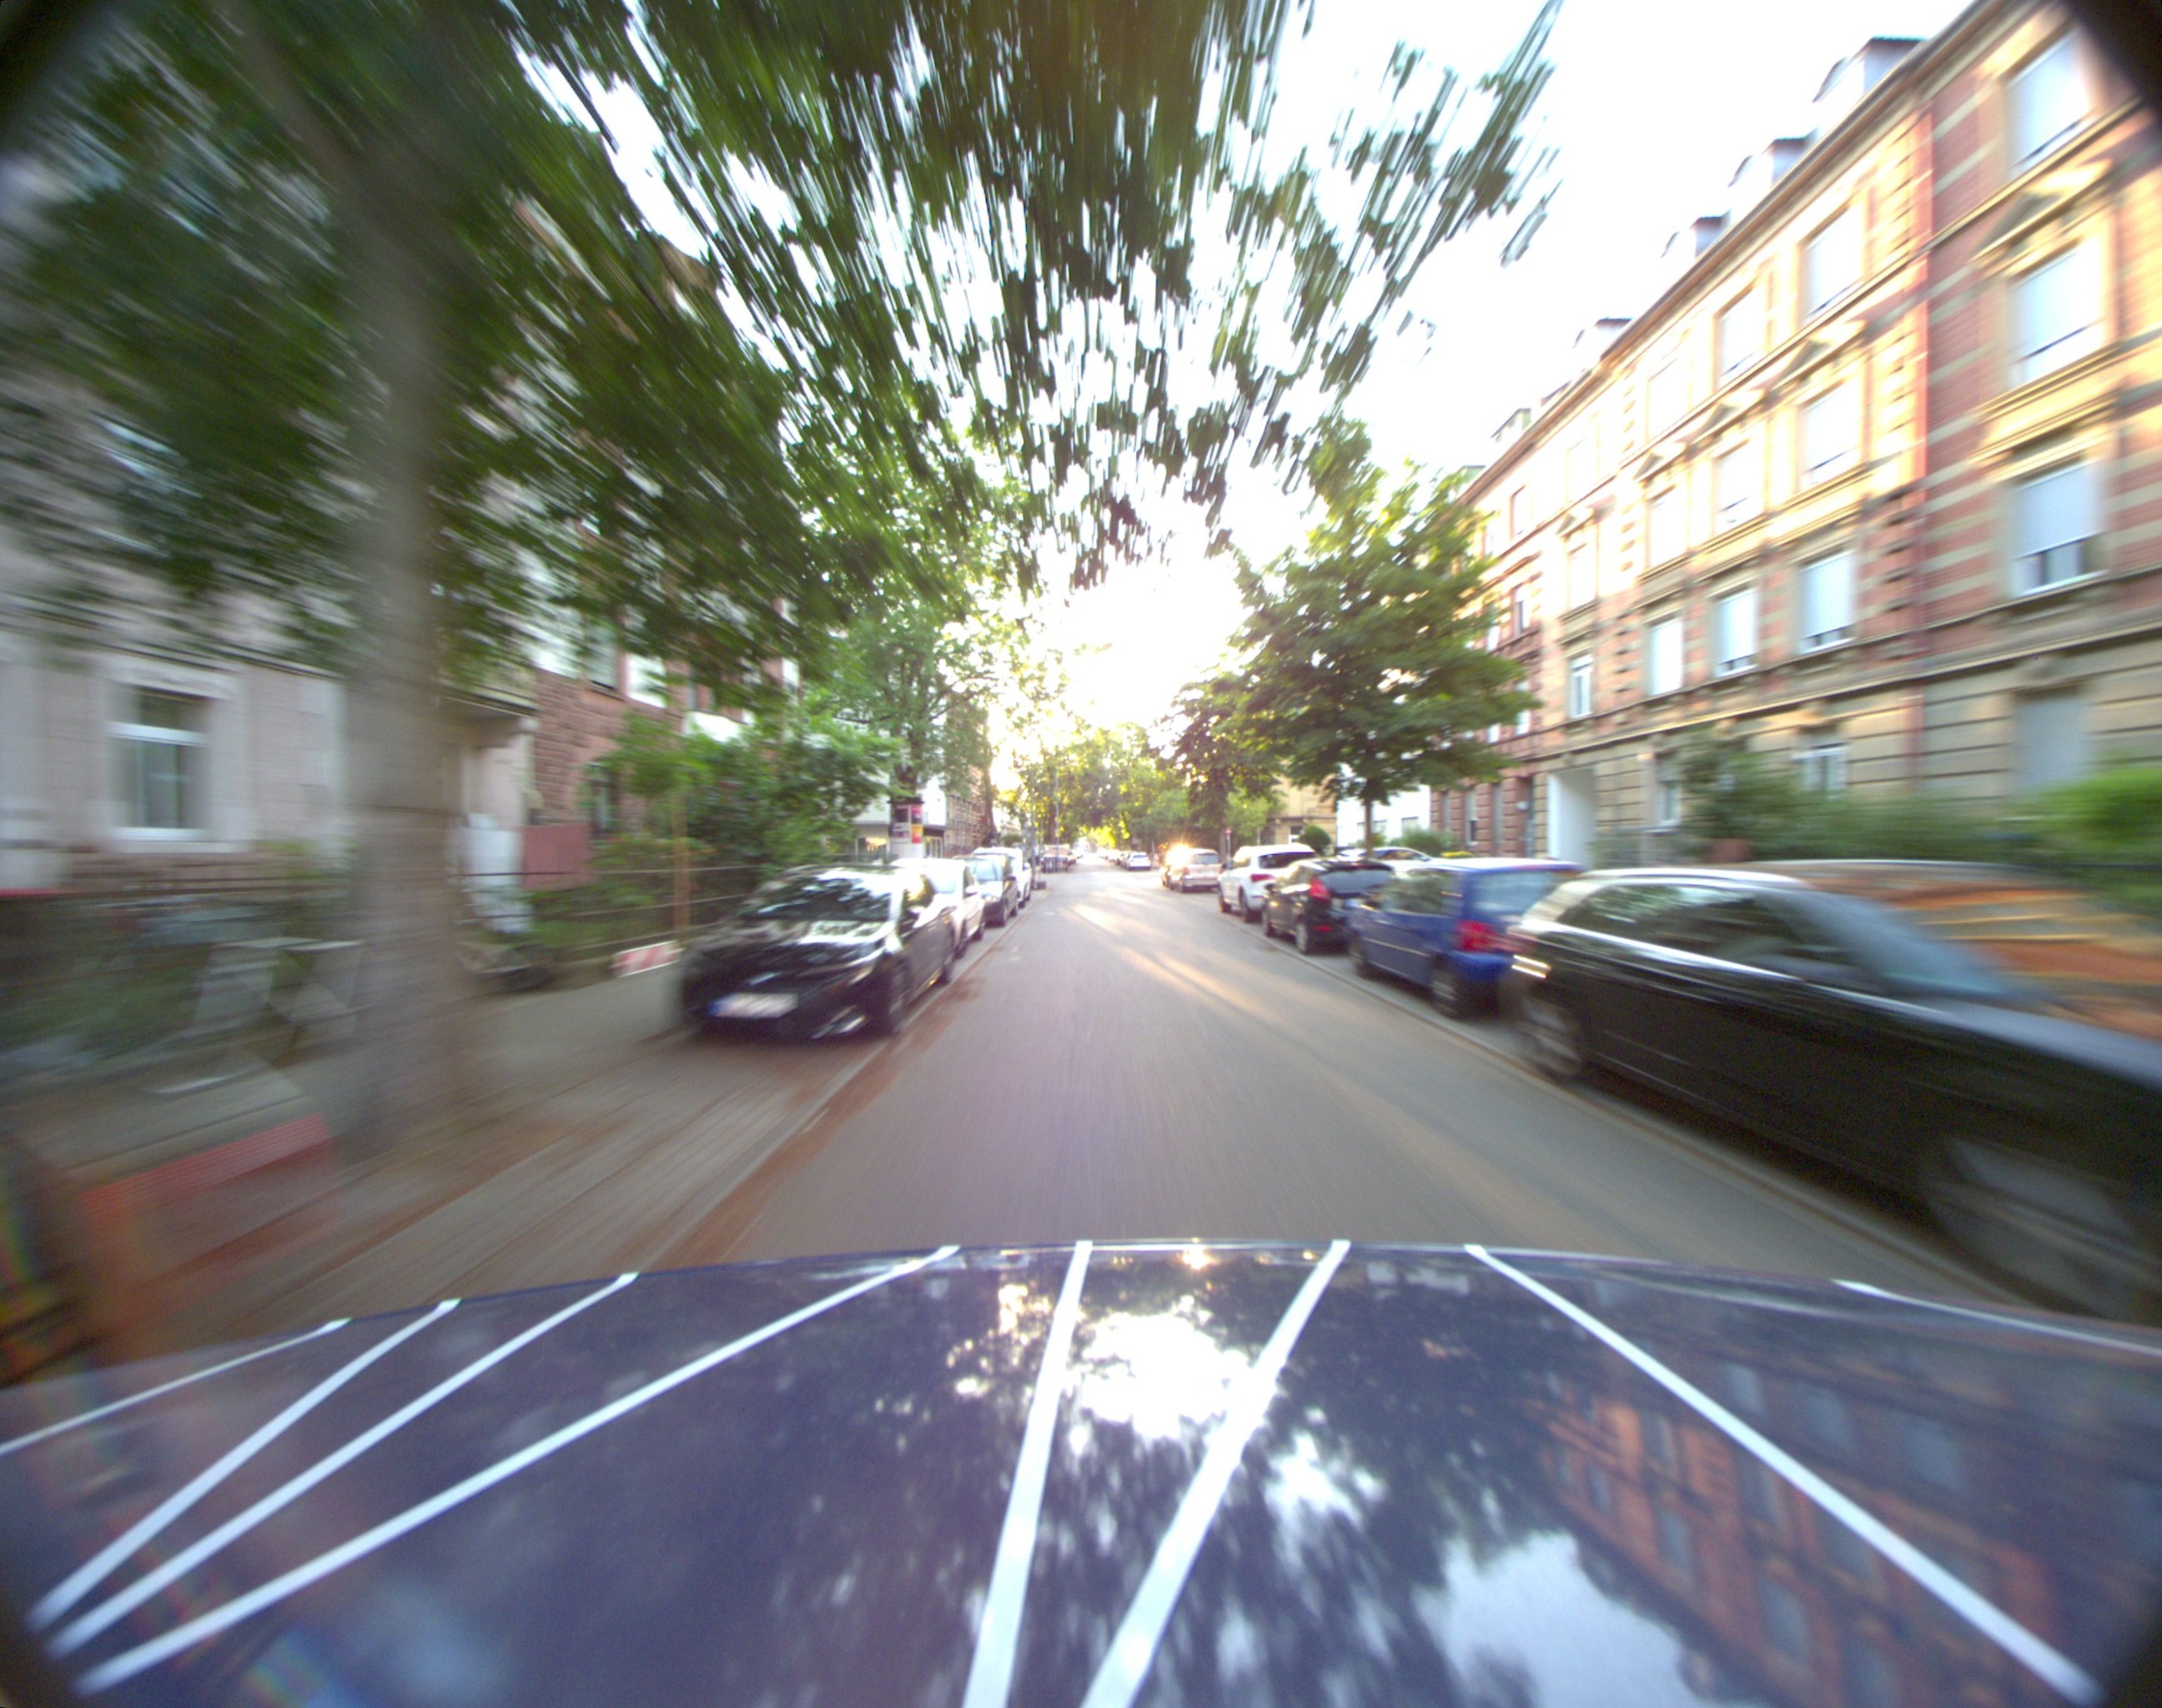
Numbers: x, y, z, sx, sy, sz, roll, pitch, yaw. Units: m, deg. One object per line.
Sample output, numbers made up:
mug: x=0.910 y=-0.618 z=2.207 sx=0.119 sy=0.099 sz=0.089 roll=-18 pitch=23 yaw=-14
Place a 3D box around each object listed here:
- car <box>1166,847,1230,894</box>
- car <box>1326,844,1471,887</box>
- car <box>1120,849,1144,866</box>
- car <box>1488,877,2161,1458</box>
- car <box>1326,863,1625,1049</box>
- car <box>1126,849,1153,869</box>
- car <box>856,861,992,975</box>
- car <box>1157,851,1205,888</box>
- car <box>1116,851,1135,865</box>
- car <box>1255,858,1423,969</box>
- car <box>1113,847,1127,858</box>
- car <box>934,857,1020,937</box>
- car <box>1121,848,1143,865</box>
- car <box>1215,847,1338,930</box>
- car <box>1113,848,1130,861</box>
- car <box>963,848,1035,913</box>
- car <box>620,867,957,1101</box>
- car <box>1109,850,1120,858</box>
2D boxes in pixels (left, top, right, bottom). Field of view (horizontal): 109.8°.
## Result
car: x=4.409 y=0.583 z=29.212 sx=1.677 sy=1.628 sz=3.939 roll=-1 pitch=1 yaw=-2
car: x=11.091 y=0.386 z=26.735 sx=4.412 sy=1.334 sz=1.625 roll=-1 pitch=1 yaw=1
car: x=4.565 y=0.307 z=68.527 sx=1.840 sy=1.484 sz=3.641 roll=-1 pitch=1 yaw=0
car: x=3.824 y=0.924 z=3.447 sx=1.732 sy=1.433 sz=4.023 roll=-1 pitch=1 yaw=-1
car: x=3.918 y=0.897 z=8.162 sx=1.441 sy=1.485 sz=3.297 roll=-1 pitch=1 yaw=-1
car: x=4.837 y=0.387 z=62.885 sx=1.953 sy=1.484 sz=3.737 roll=-1 pitch=1 yaw=0
car: x=-2.452 y=0.927 z=12.700 sx=1.479 sy=1.498 sz=3.928 roll=-1 pitch=1 yaw=-1
car: x=4.356 y=0.641 z=33.570 sx=1.505 sy=1.484 sz=3.987 roll=-1 pitch=1 yaw=-1
car: x=5.045 y=0.408 z=86.553 sx=1.840 sy=1.484 sz=3.641 roll=-1 pitch=1 yaw=0
car: x=4.081 y=0.861 z=12.619 sx=1.682 sy=1.490 sz=3.625 roll=-1 pitch=1 yaw=3
car: x=5.742 y=-0.220 z=112.239 sx=1.840 sy=1.484 sz=3.641 roll=-1 pitch=1 yaw=0
car: x=-2.243 y=0.871 z=17.090 sx=1.502 sy=1.538 sz=3.338 roll=-1 pitch=1 yaw=-1
car: x=4.981 y=0.227 z=74.228 sx=1.840 sy=1.484 sz=3.641 roll=-1 pitch=1 yaw=0
car: x=4.380 y=0.704 z=17.655 sx=1.866 sy=1.653 sz=4.021 roll=-1 pitch=1 yaw=1
car: x=4.973 y=0.011 z=93.201 sx=1.840 sy=1.484 sz=3.641 roll=-1 pitch=1 yaw=0
car: x=-2.351 y=0.700 z=22.736 sx=1.737 sy=1.692 sz=4.167 roll=-1 pitch=1 yaw=-1
car: x=-2.412 y=0.962 z=7.486 sx=1.737 sy=1.498 sz=4.163 roll=-1 pitch=1 yaw=-1
car: x=6.233 y=-0.037 z=142.222 sx=1.840 sy=1.484 sz=3.641 roll=-1 pitch=1 yaw=0
